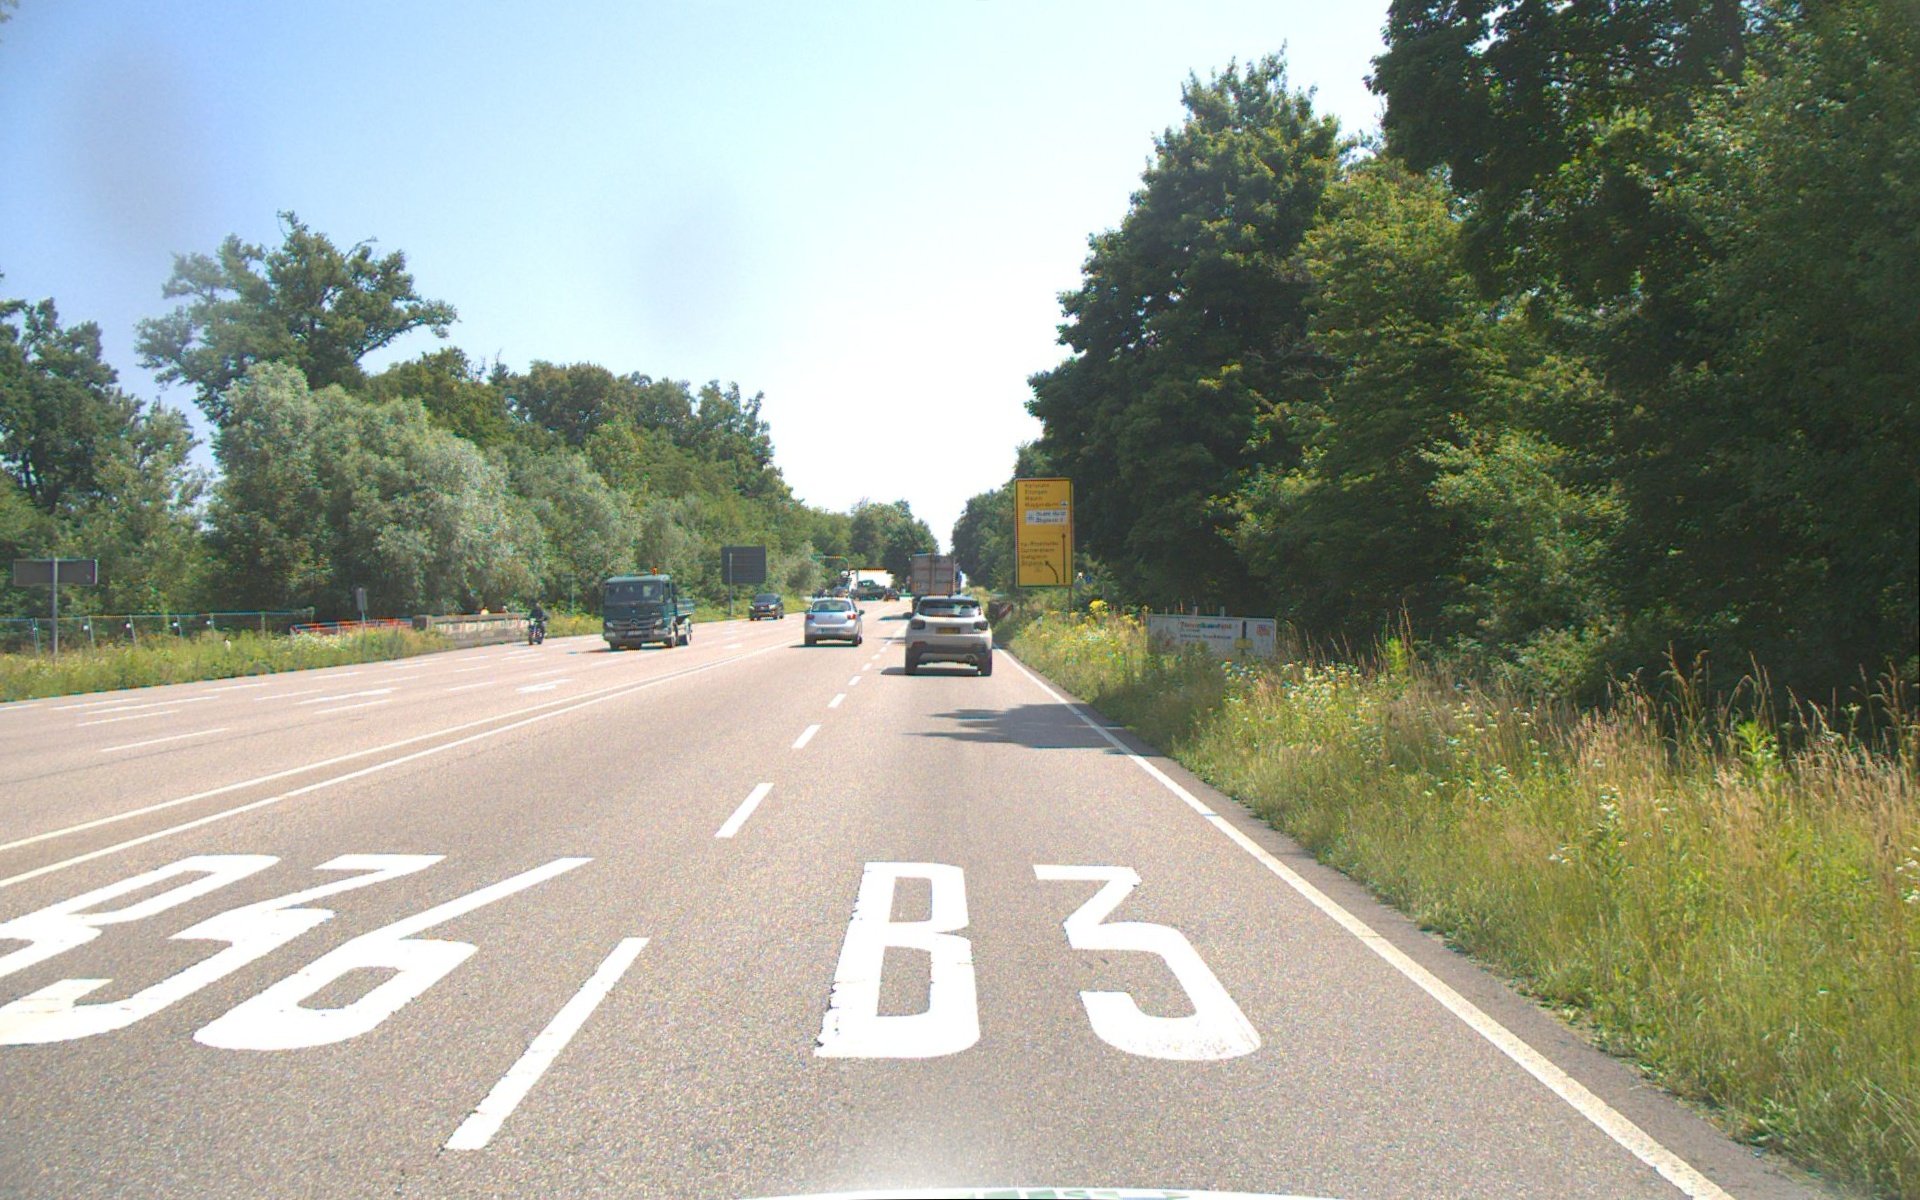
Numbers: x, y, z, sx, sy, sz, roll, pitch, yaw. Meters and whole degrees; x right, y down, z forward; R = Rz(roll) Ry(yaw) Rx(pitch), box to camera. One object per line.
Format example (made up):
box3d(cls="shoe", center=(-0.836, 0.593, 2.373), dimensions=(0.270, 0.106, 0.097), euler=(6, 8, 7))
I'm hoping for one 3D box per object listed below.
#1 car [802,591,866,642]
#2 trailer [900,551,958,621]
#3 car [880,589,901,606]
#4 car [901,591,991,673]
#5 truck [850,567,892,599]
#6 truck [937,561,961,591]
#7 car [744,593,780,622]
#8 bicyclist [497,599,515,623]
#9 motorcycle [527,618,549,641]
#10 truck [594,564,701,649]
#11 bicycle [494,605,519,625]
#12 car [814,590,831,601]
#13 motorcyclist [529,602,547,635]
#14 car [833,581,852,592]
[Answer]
box3d(cls="car", center=(-3.790, 0.476, 50.415), dimensions=(1.631, 1.455, 3.828), euler=(0, 0, 0))
box3d(cls="trailer", center=(-1.831, -0.832, 101.405), dimensions=(3.313, 4.058, 10.803), euler=(0, 0, 0))
box3d(cls="car", center=(-8.637, -0.266, 204.923), dimensions=(1.958, 2.049, 4.541), euler=(-2, 0, -11))
box3d(cls="car", center=(-0.252, 0.603, 34.023), dimensions=(1.731, 1.561, 4.000), euler=(0, 0, 0))
box3d(cls="truck", center=(-11.972, -2.178, 221.907), dimensions=(3.587, 4.177, 9.466), euler=(0, 0, -16))
box3d(cls="truck", center=(-1.660, -3.555, 244.722), dimensions=(3.426, 4.261, 10.781), euler=(0, 0, -1))
box3d(cls="car", center=(-13.796, 0.497, 115.467), dimensions=(1.953, 1.914, 4.959), euler=(-2, 0, -1))
box3d(cls="bicyclist", center=(-24.191, 0.597, 88.162), dimensions=(0.719, 1.216, 0.592), euler=(-2, 0, 10))
box3d(cls="motorcycle", center=(-17.774, 1.228, 69.667), dimensions=(0.506, 0.908, 1.909), euler=(-2, 0, -3))
box3d(cls="truck", center=(-10.948, 0.172, 58.583), dimensions=(2.404, 2.702, 6.491), euler=(-4, 1, 0))
box3d(cls="bicycle", center=(-24.200, 0.802, 88.269), dimensions=(0.591, 1.023, 1.557), euler=(-2, 0, 11))
box3d(cls="car", center=(-20.841, -0.692, 250.482), dimensions=(1.960, 1.613, 3.985), euler=(0, 0, -14))
box3d(cls="motorcyclist", center=(-17.785, 0.780, 69.707), dimensions=(0.566, 1.377, 0.754), euler=(-2, 0, -3))
box3d(cls="car", center=(-16.872, -1.921, 237.485), dimensions=(1.960, 1.613, 3.985), euler=(0, 0, -14))
